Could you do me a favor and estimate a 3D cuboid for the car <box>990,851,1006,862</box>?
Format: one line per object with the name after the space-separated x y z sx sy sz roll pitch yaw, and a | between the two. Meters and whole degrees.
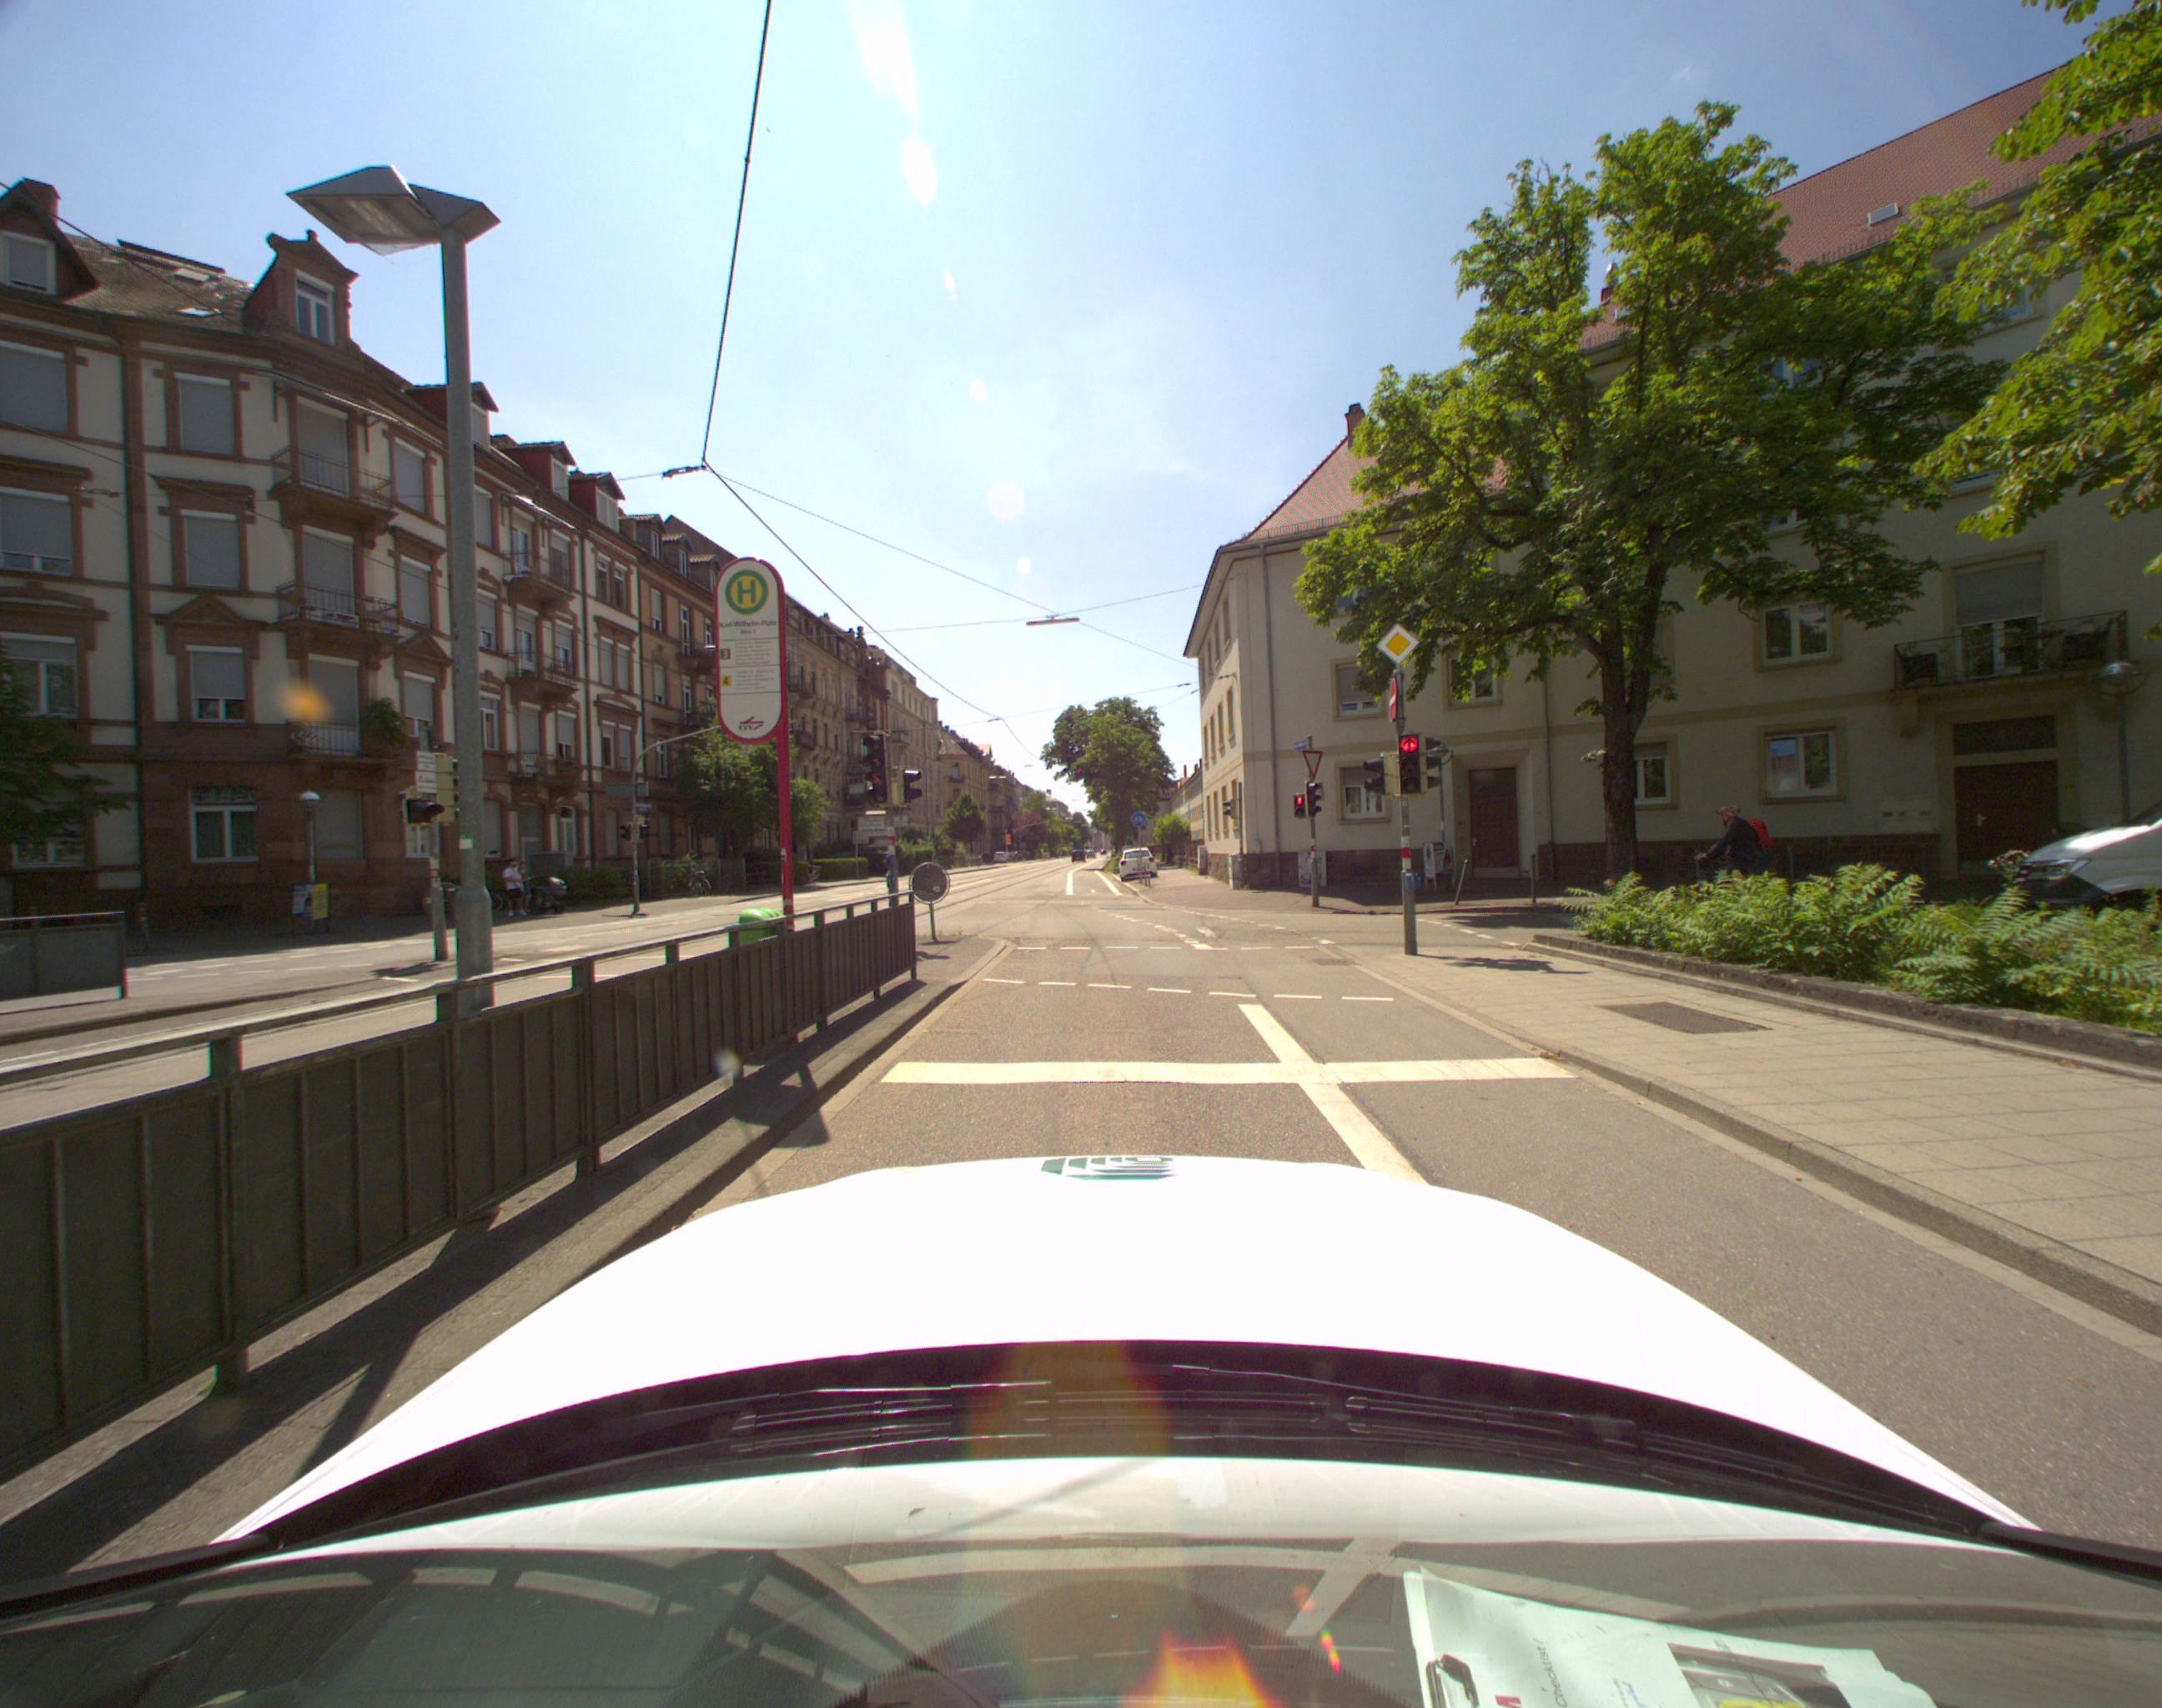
-11.987 0.346 117.670 1.679 1.472 3.937 -5 0 0 | car

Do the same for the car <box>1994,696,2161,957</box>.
12.633 -0.320 7.282 2.009 2.590 5.784 -1 0 -37 | car

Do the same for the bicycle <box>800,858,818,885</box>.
-14.272 0.915 42.690 0.594 1.356 2.421 -1 0 -24 | bicycle

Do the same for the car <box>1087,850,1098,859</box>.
2.071 0.052 141.581 1.741 1.472 3.940 -5 0 2 | car

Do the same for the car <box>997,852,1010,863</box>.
-11.970 0.544 126.057 1.623 1.472 3.563 -5 0 0 | car

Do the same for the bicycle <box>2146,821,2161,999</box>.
8.375 0.420 5.358 0.351 1.360 1.836 -1 0 2 | bicycle

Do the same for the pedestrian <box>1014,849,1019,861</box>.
-9.217 0.095 116.830 0.675 1.727 0.678 -1 0 1 | pedestrian

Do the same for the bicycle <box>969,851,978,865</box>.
-11.599 0.431 87.691 0.575 1.388 2.502 -1 0 2 | bicycle

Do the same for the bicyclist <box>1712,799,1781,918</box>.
9.504 0.069 11.655 0.687 1.646 0.584 -2 -1 36 | bicyclist

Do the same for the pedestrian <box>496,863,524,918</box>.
-17.288 1.089 24.656 0.657 1.615 0.464 -1 2 -40 | pedestrian

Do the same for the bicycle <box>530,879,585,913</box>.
-16.427 1.308 25.579 1.410 1.013 0.384 1 -2 -38 | bicycle

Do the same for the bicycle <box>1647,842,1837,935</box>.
9.416 0.478 11.714 2.060 1.236 0.584 -2 0 35 | bicycle

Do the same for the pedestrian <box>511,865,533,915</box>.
-17.434 1.105 25.390 0.510 1.516 0.464 -1 -1 -40 | pedestrian

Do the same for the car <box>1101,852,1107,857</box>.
6.613 0.162 232.875 1.623 1.472 3.563 -5 0 0 | car

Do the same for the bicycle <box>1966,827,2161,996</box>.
7.390 0.397 5.994 0.331 1.127 1.288 -1 -2 2 | bicycle

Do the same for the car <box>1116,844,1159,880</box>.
2.631 0.367 38.758 1.741 1.472 3.940 -5 0 2 | car

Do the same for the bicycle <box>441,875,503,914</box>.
-19.223 1.269 25.730 1.522 1.169 0.362 -1 1 -25 | bicycle

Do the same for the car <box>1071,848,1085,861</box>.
-0.359 0.056 98.350 1.519 1.444 3.367 -4 0 3 | car

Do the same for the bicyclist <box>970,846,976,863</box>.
-11.617 0.068 87.639 0.540 1.763 0.498 -1 0 1 | bicyclist

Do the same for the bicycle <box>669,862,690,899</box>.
-15.975 1.046 32.434 0.617 1.395 2.289 -1 0 -24 | bicycle
